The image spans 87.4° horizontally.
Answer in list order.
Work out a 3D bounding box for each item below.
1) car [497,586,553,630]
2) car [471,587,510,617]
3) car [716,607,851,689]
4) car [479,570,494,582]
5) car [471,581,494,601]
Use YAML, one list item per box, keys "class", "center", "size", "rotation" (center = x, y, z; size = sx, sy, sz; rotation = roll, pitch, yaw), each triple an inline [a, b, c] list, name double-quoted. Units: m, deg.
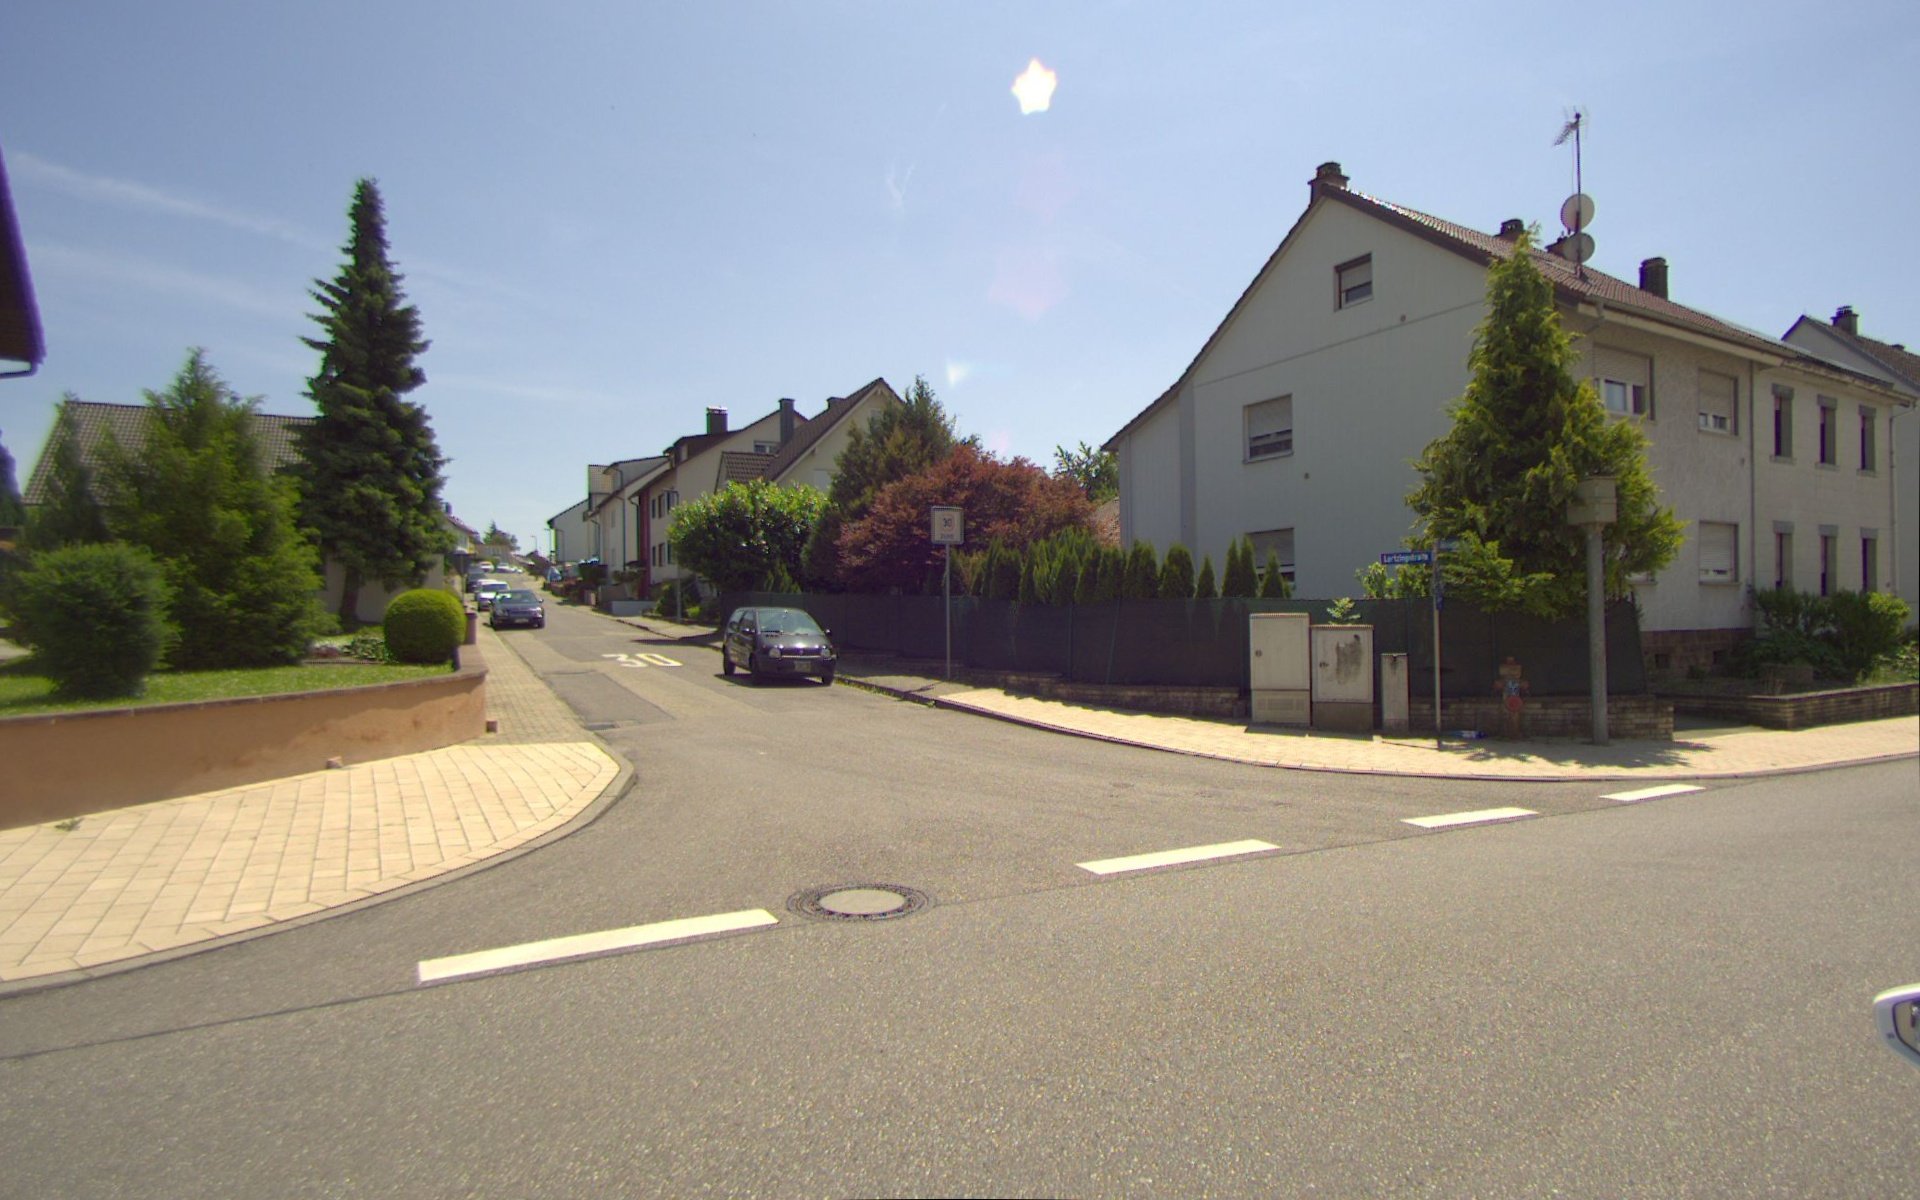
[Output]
- class: "car"
  center: [-16.998, 0.290, 39.174]
  size: [1.852, 1.573, 3.882]
  rotation: [1, 1, -26]
- class: "car"
  center: [-26.364, 0.088, 56.357]
  size: [1.905, 1.573, 4.273]
  rotation: [1, 0, -26]
- class: "car"
  center: [-3.661, 0.901, 20.341]
  size: [1.729, 1.435, 3.730]
  rotation: [1, 0, -26]
- class: "car"
  center: [-64.039, -3.251, 135.818]
  size: [1.705, 1.573, 3.648]
  rotation: [1, 0, -26]
- class: "car"
  center: [-40.926, -0.775, 86.056]
  size: [1.705, 1.573, 3.648]
  rotation: [1, 0, -26]
